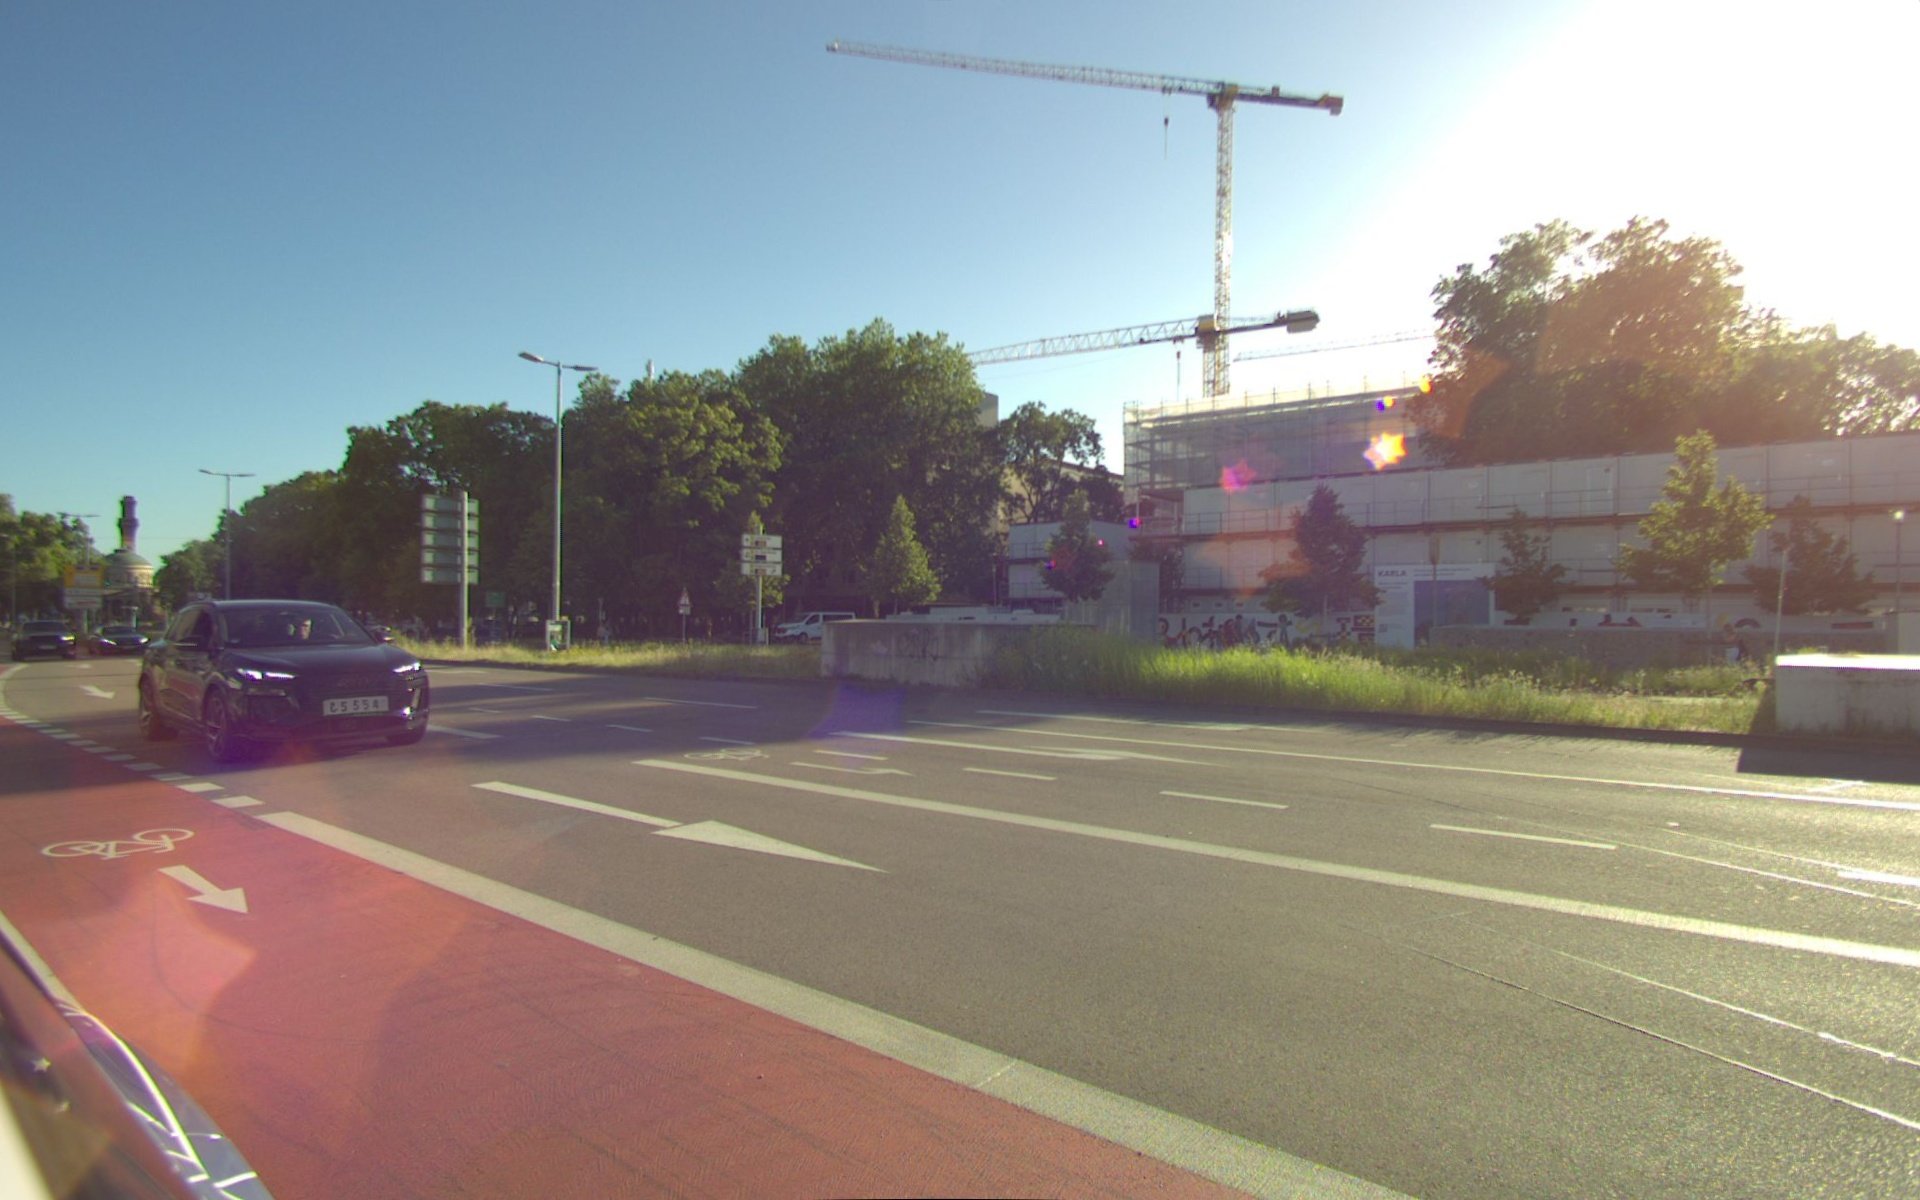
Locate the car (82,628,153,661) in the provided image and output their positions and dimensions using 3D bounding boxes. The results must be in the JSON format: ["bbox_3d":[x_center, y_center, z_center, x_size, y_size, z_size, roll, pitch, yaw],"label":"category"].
[{"bbox_3d":[-40.573,2.108,48.711,4.487,1.417,1.972,-1,0,42],"label":"car"}]

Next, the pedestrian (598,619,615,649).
[{"bbox_3d":[-21.107,2.033,60.411,0.762,1.738,0.656,-1,-2,41],"label":"pedestrian"}]

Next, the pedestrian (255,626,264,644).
[{"bbox_3d":[-70.495,3.533,101.786,0.733,1.862,0.561,-1,-2,40],"label":"pedestrian"}]

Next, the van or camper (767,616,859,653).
[{"bbox_3d":[-8.938,2.060,61.949,1.948,2.029,5.576,-1,0,42],"label":"van or camper"}]

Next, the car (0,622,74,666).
[{"bbox_3d":[-38.335,1.793,41.865,4.323,1.732,1.973,-1,-2,41],"label":"car"}]

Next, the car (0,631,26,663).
[{"bbox_3d":[-45.804,2.199,47.799,4.485,1.417,1.973,-1,0,40],"label":"car"}]

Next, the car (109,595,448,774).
[{"bbox_3d":[-7.926,0.832,11.603,4.610,1.656,1.914,-1,-1,38],"label":"car"}]

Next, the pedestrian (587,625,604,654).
[{"bbox_3d":[-21.535,2.324,59.793,0.762,1.738,0.698,-1,-2,41],"label":"pedestrian"}]

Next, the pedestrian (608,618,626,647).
[{"bbox_3d":[-20.661,1.939,60.930,0.761,1.738,0.698,-1,-2,38],"label":"pedestrian"}]

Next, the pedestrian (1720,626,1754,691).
[{"bbox_3d":[20.236,1.500,26.344,0.626,1.665,0.930,-1,-2,41],"label":"pedestrian"}]
